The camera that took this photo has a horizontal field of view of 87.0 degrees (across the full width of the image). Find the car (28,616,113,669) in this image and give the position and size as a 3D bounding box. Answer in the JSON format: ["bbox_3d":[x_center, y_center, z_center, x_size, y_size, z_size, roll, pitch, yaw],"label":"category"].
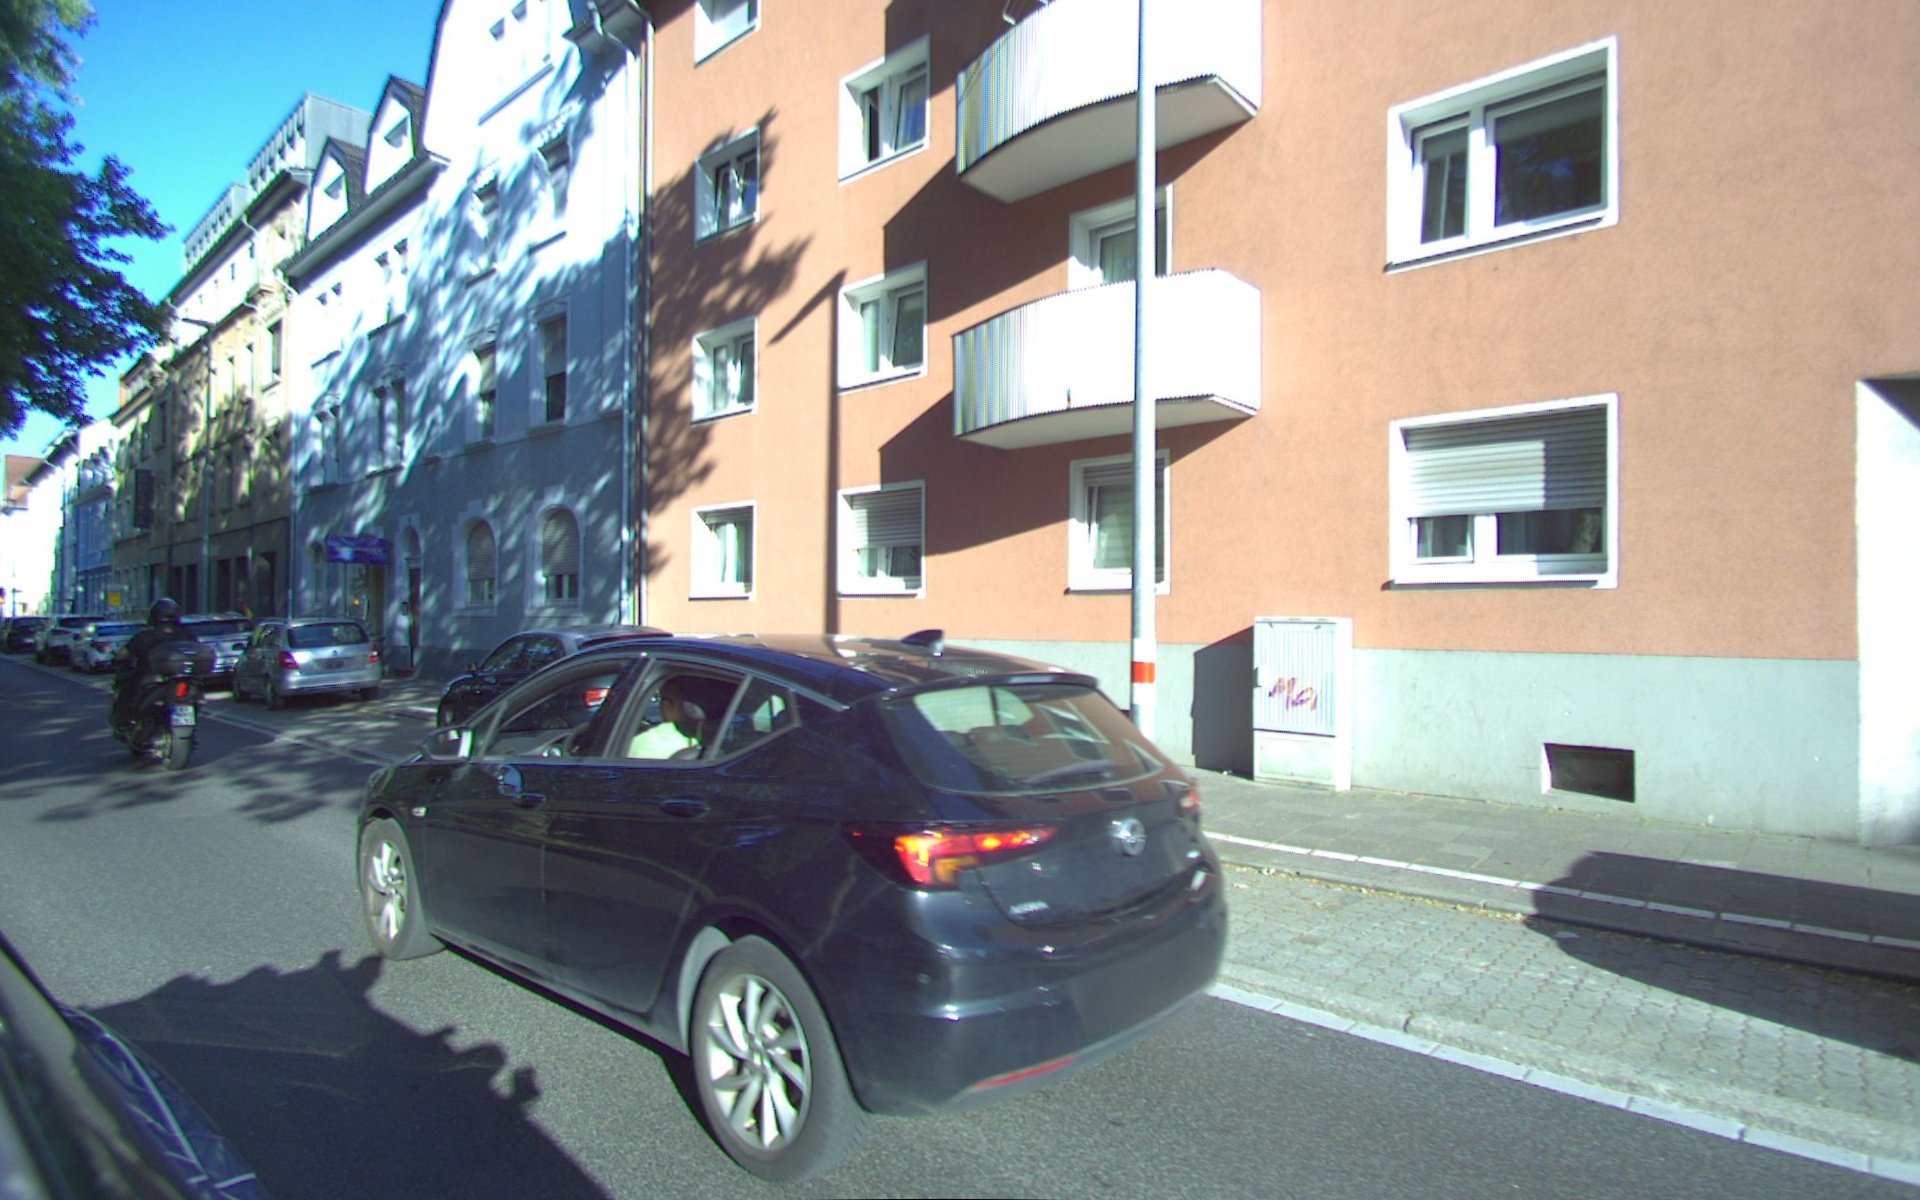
[{"bbox_3d":[-29.027,1.349,32.985,4.200,1.597,1.659,-1,0,43],"label":"car"}]

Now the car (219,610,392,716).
[{"bbox_3d":[-11.781,1.039,18.109,3.984,1.654,1.660,-1,0,43],"label":"car"}]

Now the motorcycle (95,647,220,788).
[{"bbox_3d":[-8.197,1.135,10.300,2.263,1.251,0.541,-1,-4,41],"label":"motorcycle"}]

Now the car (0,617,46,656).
[{"bbox_3d":[-43.351,1.650,46.436,4.156,1.685,1.762,-1,0,43],"label":"car"}]

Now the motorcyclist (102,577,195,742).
[{"bbox_3d":[-8.363,0.594,10.427,0.831,1.617,0.579,-1,-2,41],"label":"motorcyclist"}]

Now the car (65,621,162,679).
[{"bbox_3d":[-24.267,1.369,28.959,3.871,1.507,1.659,-1,0,43],"label":"car"}]

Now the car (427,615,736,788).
[{"bbox_3d":[-4.151,0.941,10.835,3.601,1.497,1.659,-1,0,43],"label":"car"}]

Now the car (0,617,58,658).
[{"bbox_3d":[-39.494,1.562,42.876,3.707,1.617,1.659,-1,0,45],"label":"car"}]

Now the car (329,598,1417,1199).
[{"bbox_3d":[-0.765,0.780,3.951,4.320,1.490,1.752,-1,0,42],"label":"car"}]

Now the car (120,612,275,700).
[{"bbox_3d":[-16.474,1.122,21.772,4.577,1.654,1.887,-1,0,43],"label":"car"}]

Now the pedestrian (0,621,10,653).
[{"bbox_3d":[-47.752,1.823,50.228,0.853,1.582,0.706,2,-2,-45],"label":"pedestrian"}]

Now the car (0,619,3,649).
[{"bbox_3d":[-57.525,2.004,59.421,1.884,1.685,4.496,-1,0,-44],"label":"car"}]

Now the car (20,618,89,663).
[{"bbox_3d":[-35.106,1.537,39.214,3.756,1.604,1.659,-1,0,43],"label":"car"}]
